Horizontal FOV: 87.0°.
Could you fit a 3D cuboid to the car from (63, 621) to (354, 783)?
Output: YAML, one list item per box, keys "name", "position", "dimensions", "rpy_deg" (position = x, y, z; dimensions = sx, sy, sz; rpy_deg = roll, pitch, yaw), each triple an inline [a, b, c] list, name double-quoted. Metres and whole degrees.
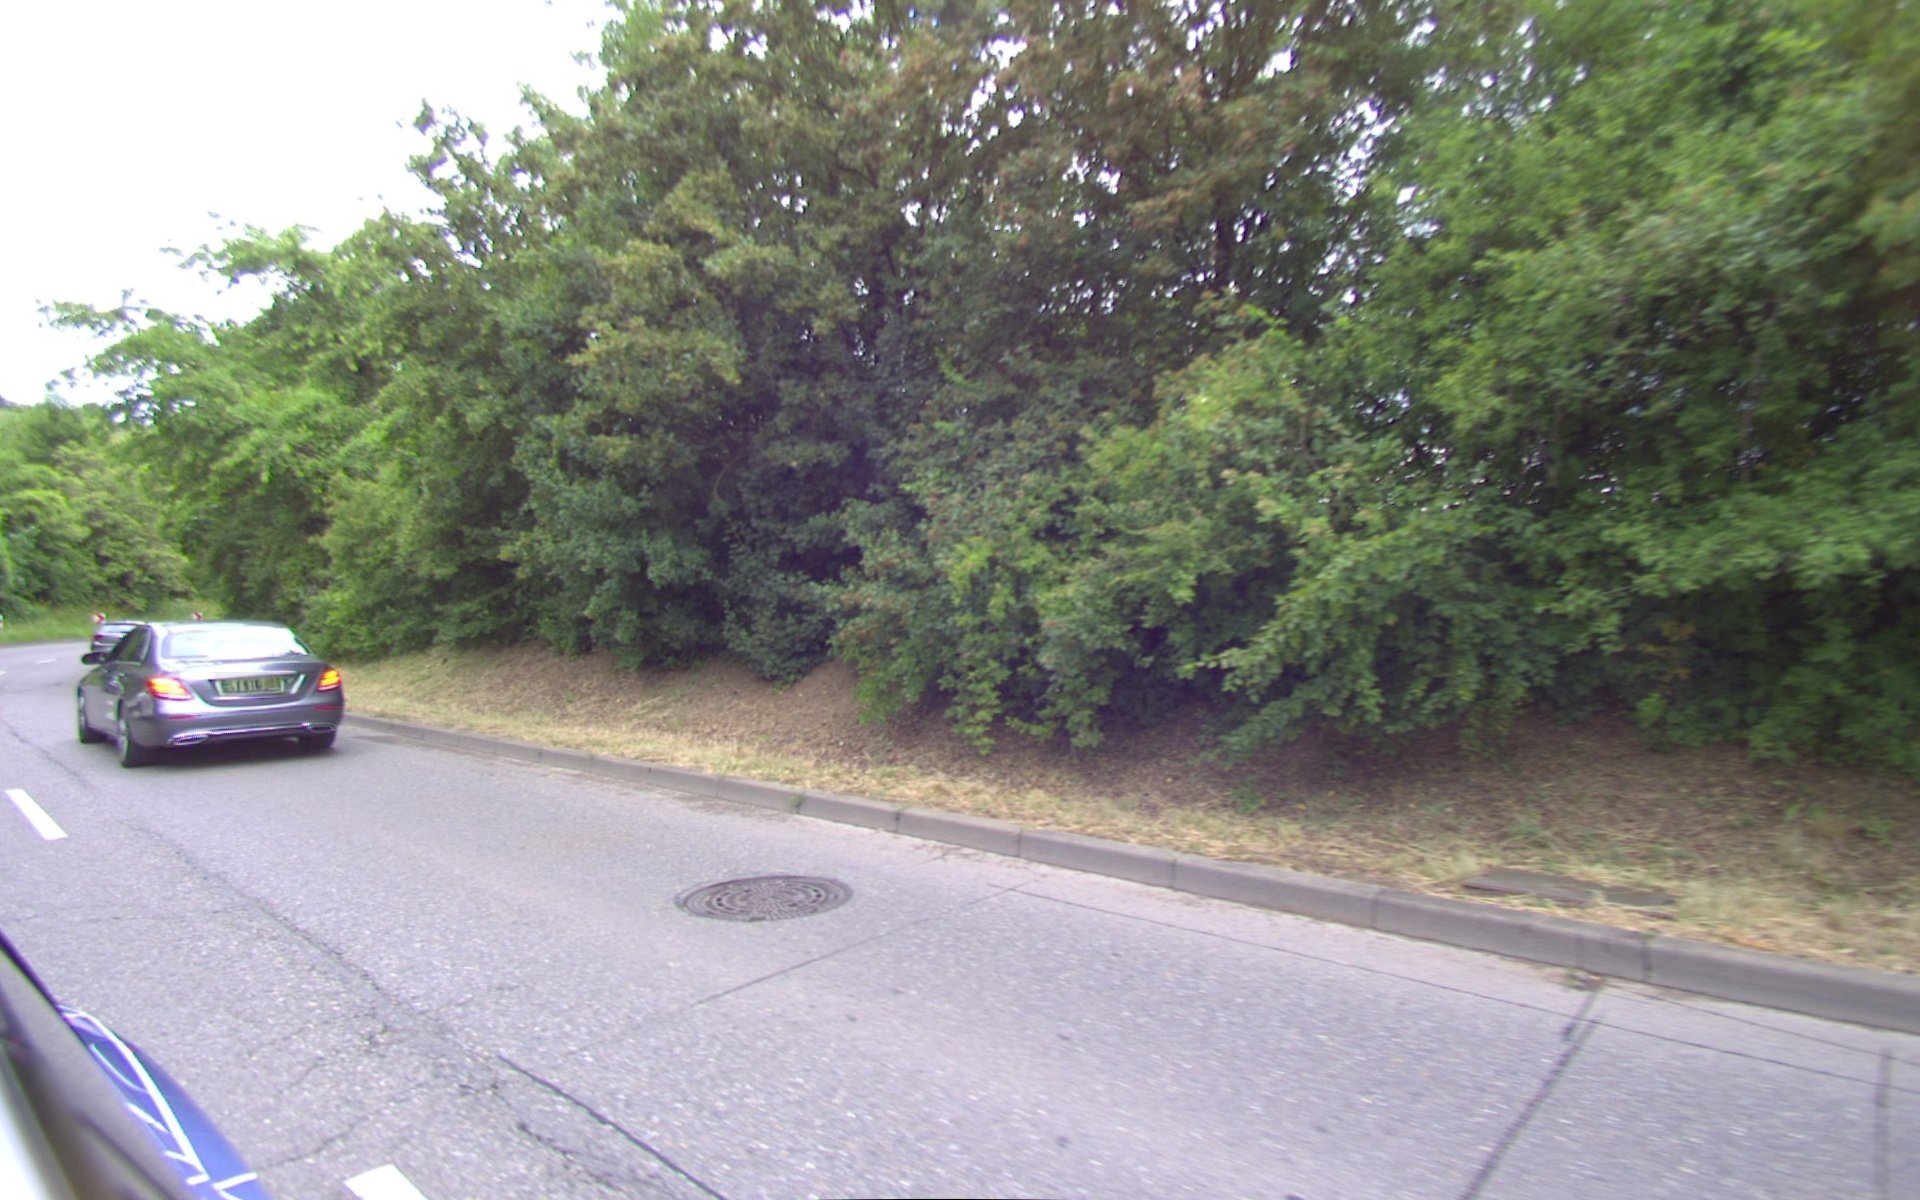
- name: "car"
  position: [-8.485, 0.965, 11.267]
  dimensions: [4.431, 1.416, 1.811]
  rpy_deg: [-1, -1, 43]

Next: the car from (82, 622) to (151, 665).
- name: "car"
  position: [-29.869, 1.506, 35.806]
  dimensions: [1.614, 1.416, 3.600]
  rpy_deg: [0, -1, -44]
